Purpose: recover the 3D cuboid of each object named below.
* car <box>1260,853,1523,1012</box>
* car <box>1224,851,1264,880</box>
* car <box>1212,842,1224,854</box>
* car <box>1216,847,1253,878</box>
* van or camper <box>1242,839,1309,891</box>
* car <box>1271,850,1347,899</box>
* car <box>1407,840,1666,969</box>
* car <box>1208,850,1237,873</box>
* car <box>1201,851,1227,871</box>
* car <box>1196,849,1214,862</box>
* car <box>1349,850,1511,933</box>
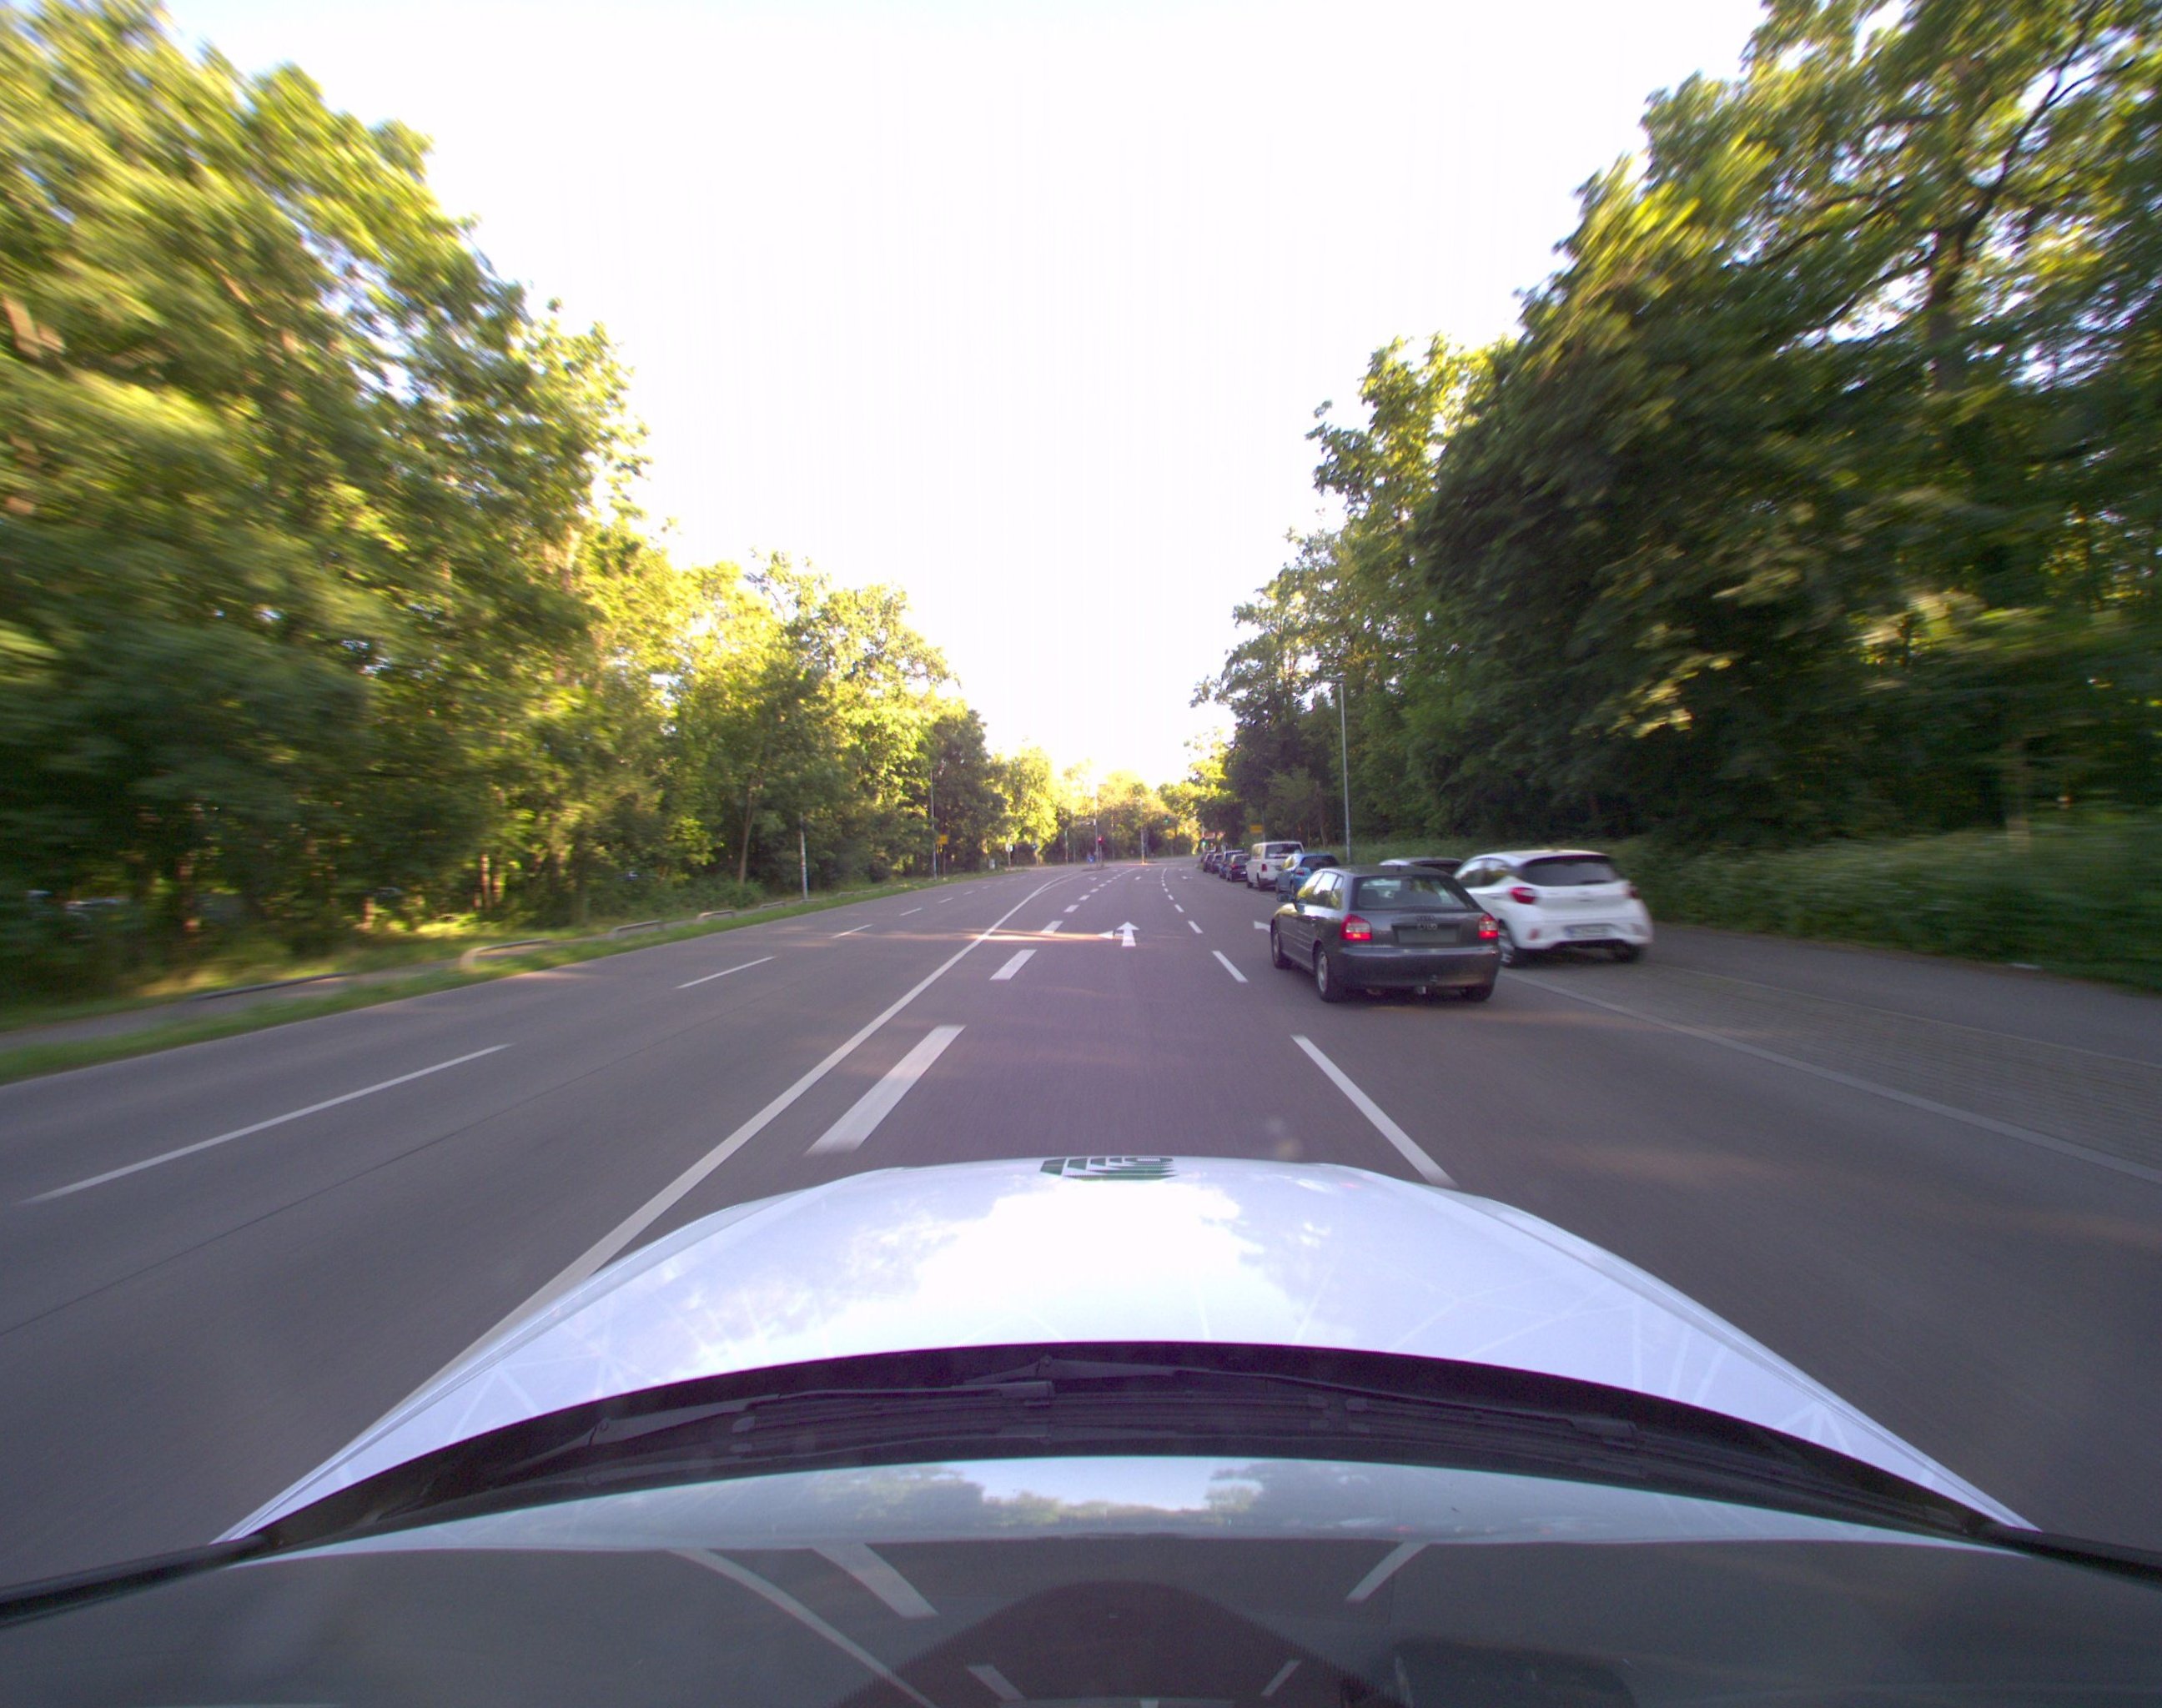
[{"bbox_3d":[3.359,0.735,9.688,1.720,1.441,4.093,-1,0,3],"label":"car"},{"bbox_3d":[8.720,0.608,43.909,1.642,1.441,4.118,-2,0,5],"label":"car"},{"bbox_3d":[28.167,-1.178,167.191,2.294,2.335,4.572,-2,0,10],"label":"car"},{"bbox_3d":[9.255,0.472,49.342,1.719,1.704,4.095,-3,0,5],"label":"car"},{"bbox_3d":[8.075,0.419,34.362,1.824,1.970,5.346,-1,0,3],"label":"van or camper"},{"bbox_3d":[7.801,0.660,28.196,1.641,1.522,3.869,-2,0,3],"label":"car"},{"bbox_3d":[6.359,0.613,11.967,1.720,1.522,4.094,-2,0,4],"label":"car"},{"bbox_3d":[10.391,0.530,60.043,1.719,1.490,4.096,-3,0,6],"label":"car"},{"bbox_3d":[10.682,0.540,65.542,1.719,1.461,4.174,-3,0,6],"label":"car"},{"bbox_3d":[17.100,0.150,112.568,1.984,1.618,4.005,-5,0,5],"label":"car"},{"bbox_3d":[6.880,0.663,16.546,1.720,1.409,4.094,-3,0,4],"label":"car"}]
